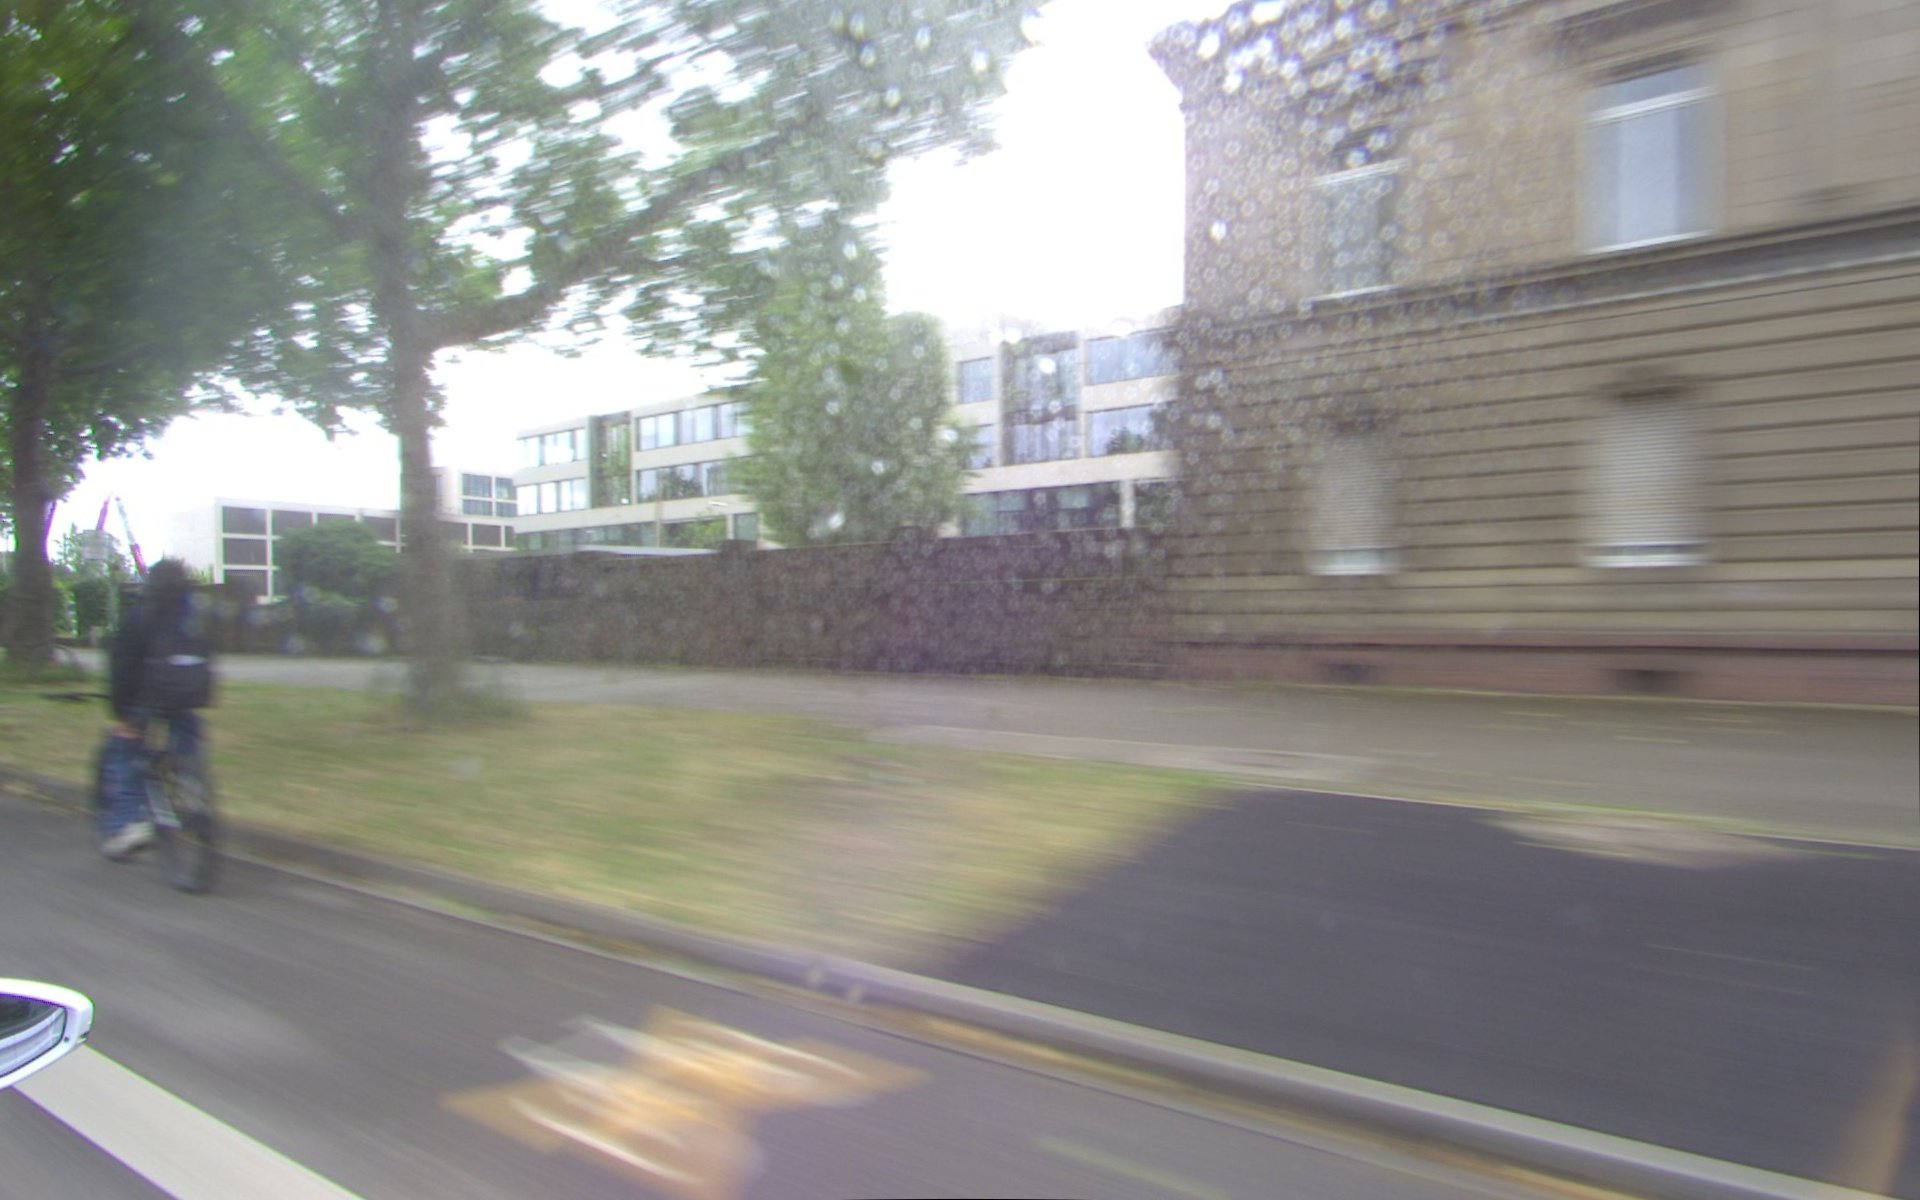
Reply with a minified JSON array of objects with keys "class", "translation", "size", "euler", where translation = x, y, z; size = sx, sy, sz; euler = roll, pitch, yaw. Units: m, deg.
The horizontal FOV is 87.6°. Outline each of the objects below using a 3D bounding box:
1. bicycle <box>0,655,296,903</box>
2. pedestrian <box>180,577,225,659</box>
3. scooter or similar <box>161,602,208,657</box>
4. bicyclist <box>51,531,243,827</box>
[{"class":"bicycle","translation":[-4.762,0.924,5.773],"size":[2.250,1.165,0.651],"euler":[-1,0,31]},{"class":"pedestrian","translation":[-19.011,0.451,25.129],"size":[0.911,2.040,0.582],"euler":[-1,1,32]},{"class":"scooter or similar","translation":[-19.890,0.747,25.691],"size":[1.139,1.372,0.574],"euler":[-1,0,32]},{"class":"bicyclist","translation":[-4.609,0.419,5.690],"size":[0.655,1.551,0.639],"euler":[-1,1,31]}]
